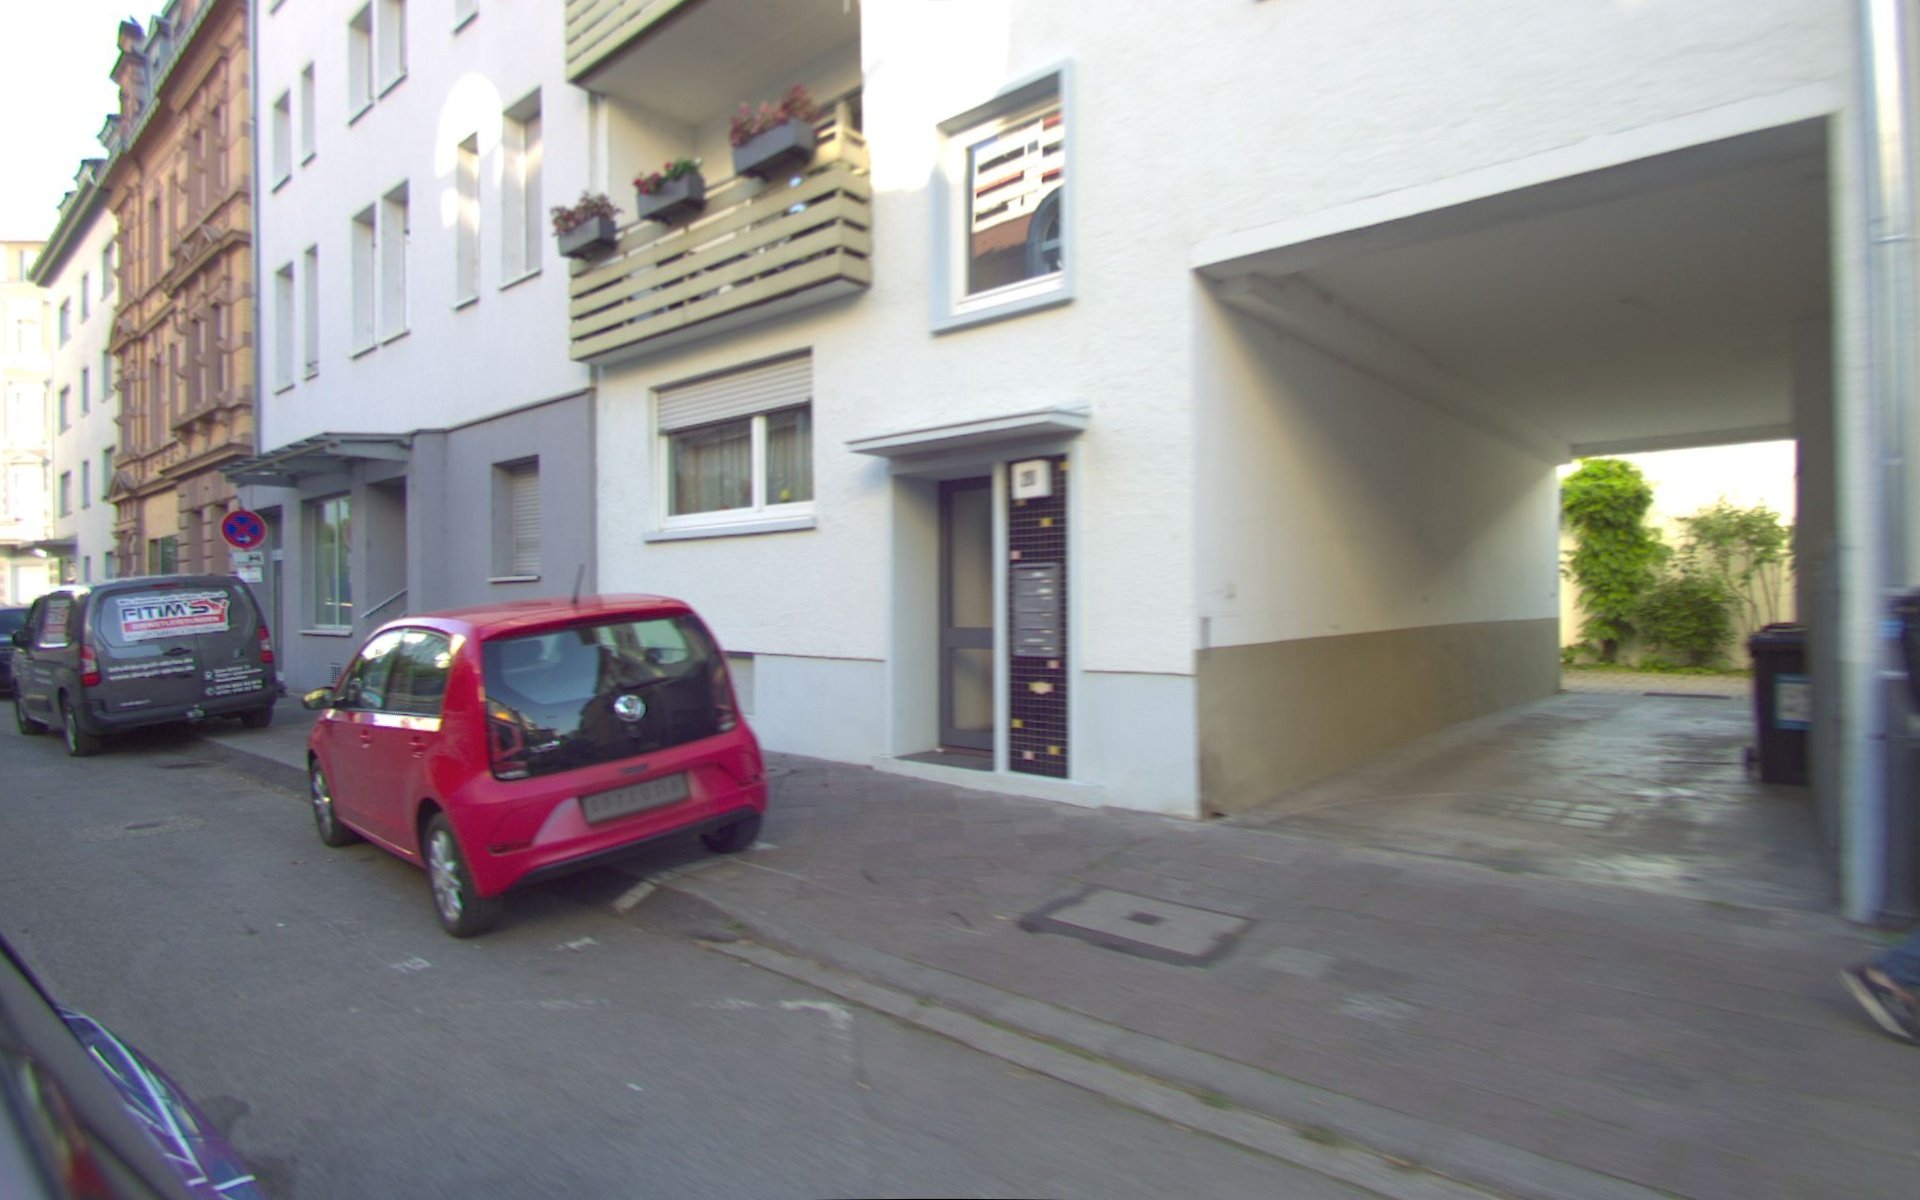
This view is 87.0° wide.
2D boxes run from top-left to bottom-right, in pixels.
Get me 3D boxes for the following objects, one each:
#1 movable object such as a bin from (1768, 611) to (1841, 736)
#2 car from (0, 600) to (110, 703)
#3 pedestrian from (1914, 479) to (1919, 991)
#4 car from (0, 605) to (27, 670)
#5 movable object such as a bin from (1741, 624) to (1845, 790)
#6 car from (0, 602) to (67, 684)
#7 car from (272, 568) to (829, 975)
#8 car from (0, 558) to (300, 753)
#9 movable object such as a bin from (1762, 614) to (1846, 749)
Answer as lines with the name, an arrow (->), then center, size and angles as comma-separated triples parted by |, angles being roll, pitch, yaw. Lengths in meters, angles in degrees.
movable object such as a bin -> 7.951, 0.671, 9.536 | 0.509, 1.100, 0.621 | 0, 1, 41
car -> -16.356, 0.830, 17.718 | 4.014, 1.611, 1.721 | -1, 0, 42
pedestrian -> 3.265, 0.445, 2.955 | 0.665, 1.650, 0.490 | 0, 1, 41
car -> -24.282, 0.923, 24.831 | 3.595, 1.519, 1.540 | -1, 2, 40
movable object such as a bin -> 5.854, 0.720, 7.119 | 0.541, 1.064, 0.597 | 0, 1, 41
car -> -19.579, 0.868, 20.850 | 2.792, 1.600, 1.381 | -1, -2, 40
car -> -2.554, 0.669, 5.844 | 1.650, 1.496, 3.608 | -7, 5, -44
car -> -9.737, 0.537, 11.963 | 4.580, 1.872, 1.974 | -1, 0, 40
movable object such as a bin -> 7.285, 0.679, 8.740 | 0.541, 1.089, 0.597 | 0, 1, 41
